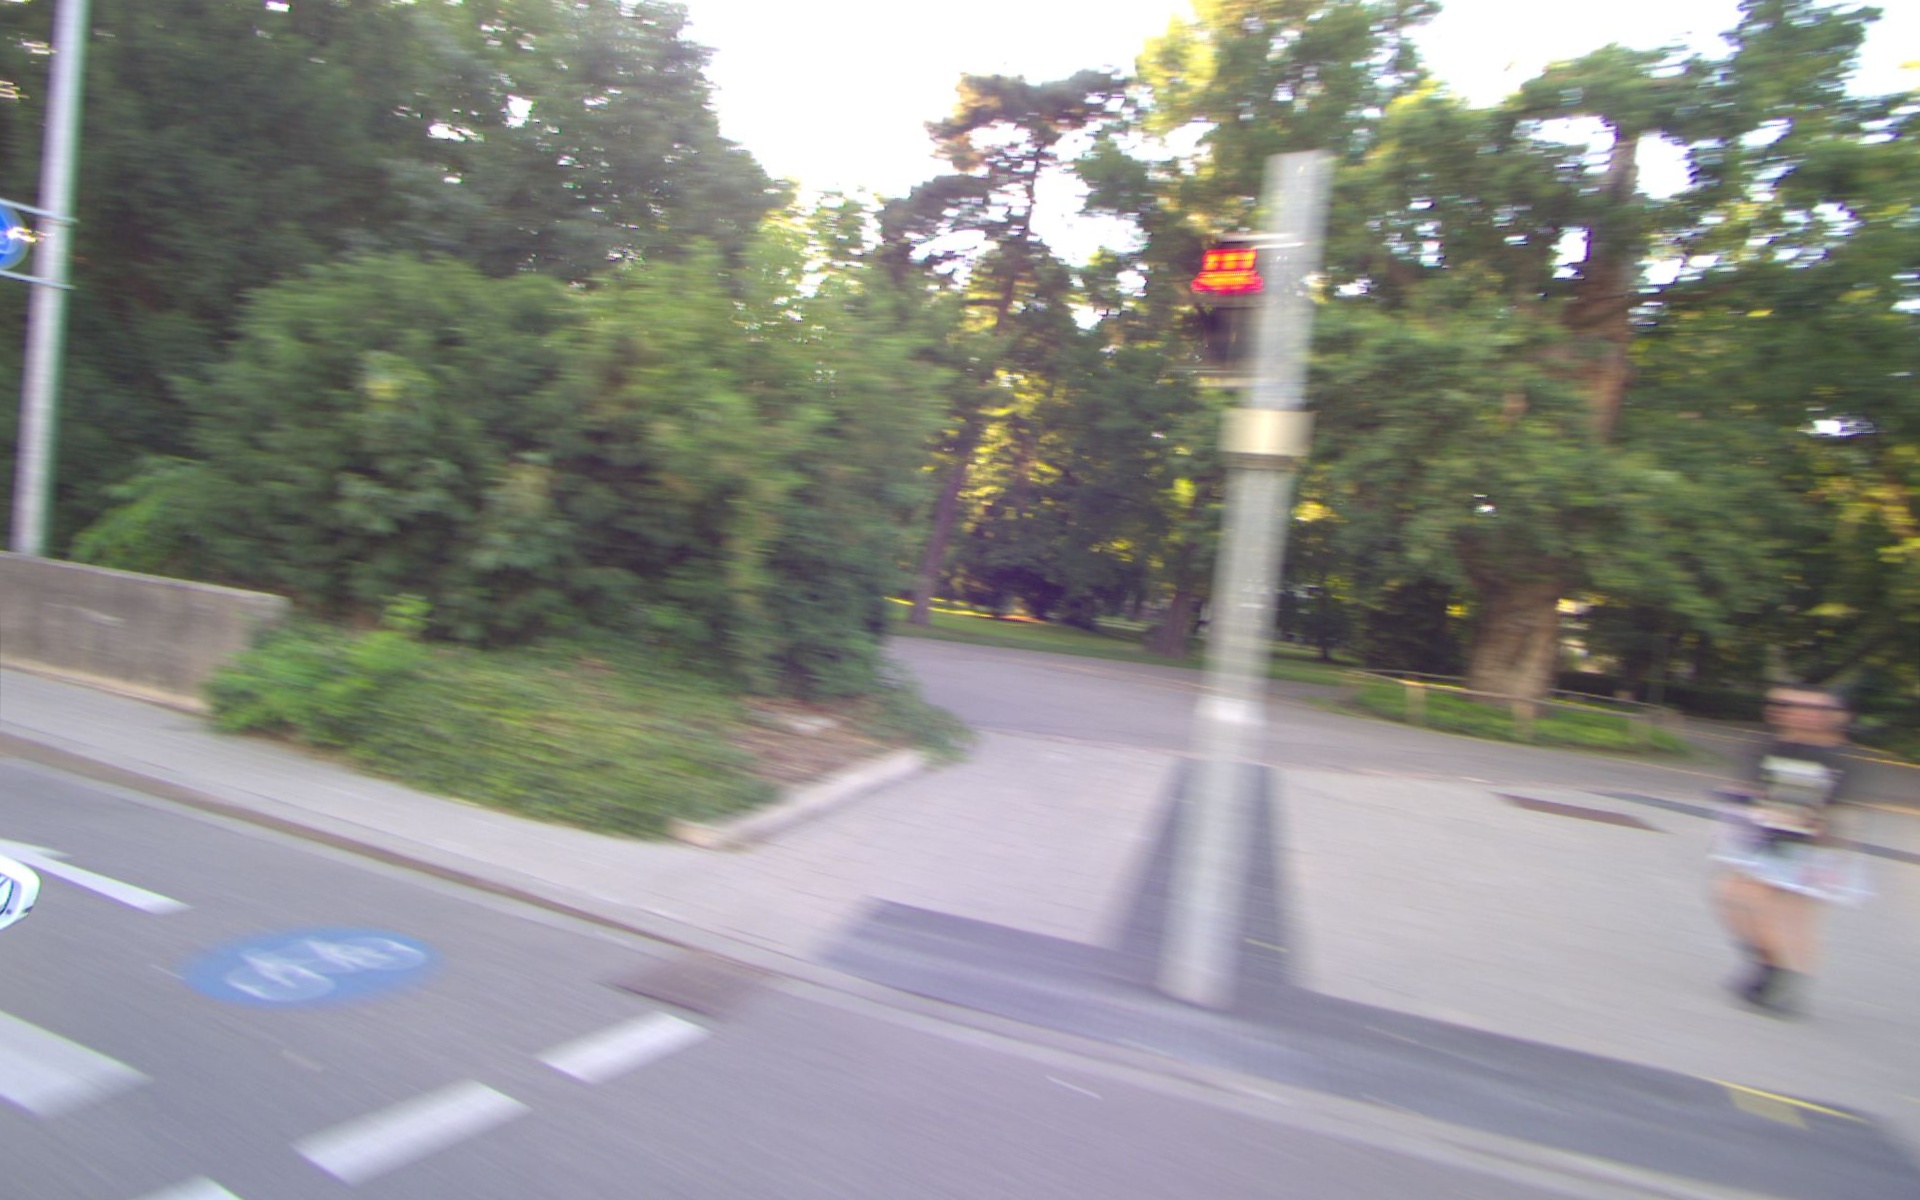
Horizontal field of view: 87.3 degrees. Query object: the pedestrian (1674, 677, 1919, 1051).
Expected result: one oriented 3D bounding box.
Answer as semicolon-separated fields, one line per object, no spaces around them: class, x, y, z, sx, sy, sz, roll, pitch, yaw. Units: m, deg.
pedestrian;3.890;1.176;4.728;0.608;1.524;0.579;7;4;26
